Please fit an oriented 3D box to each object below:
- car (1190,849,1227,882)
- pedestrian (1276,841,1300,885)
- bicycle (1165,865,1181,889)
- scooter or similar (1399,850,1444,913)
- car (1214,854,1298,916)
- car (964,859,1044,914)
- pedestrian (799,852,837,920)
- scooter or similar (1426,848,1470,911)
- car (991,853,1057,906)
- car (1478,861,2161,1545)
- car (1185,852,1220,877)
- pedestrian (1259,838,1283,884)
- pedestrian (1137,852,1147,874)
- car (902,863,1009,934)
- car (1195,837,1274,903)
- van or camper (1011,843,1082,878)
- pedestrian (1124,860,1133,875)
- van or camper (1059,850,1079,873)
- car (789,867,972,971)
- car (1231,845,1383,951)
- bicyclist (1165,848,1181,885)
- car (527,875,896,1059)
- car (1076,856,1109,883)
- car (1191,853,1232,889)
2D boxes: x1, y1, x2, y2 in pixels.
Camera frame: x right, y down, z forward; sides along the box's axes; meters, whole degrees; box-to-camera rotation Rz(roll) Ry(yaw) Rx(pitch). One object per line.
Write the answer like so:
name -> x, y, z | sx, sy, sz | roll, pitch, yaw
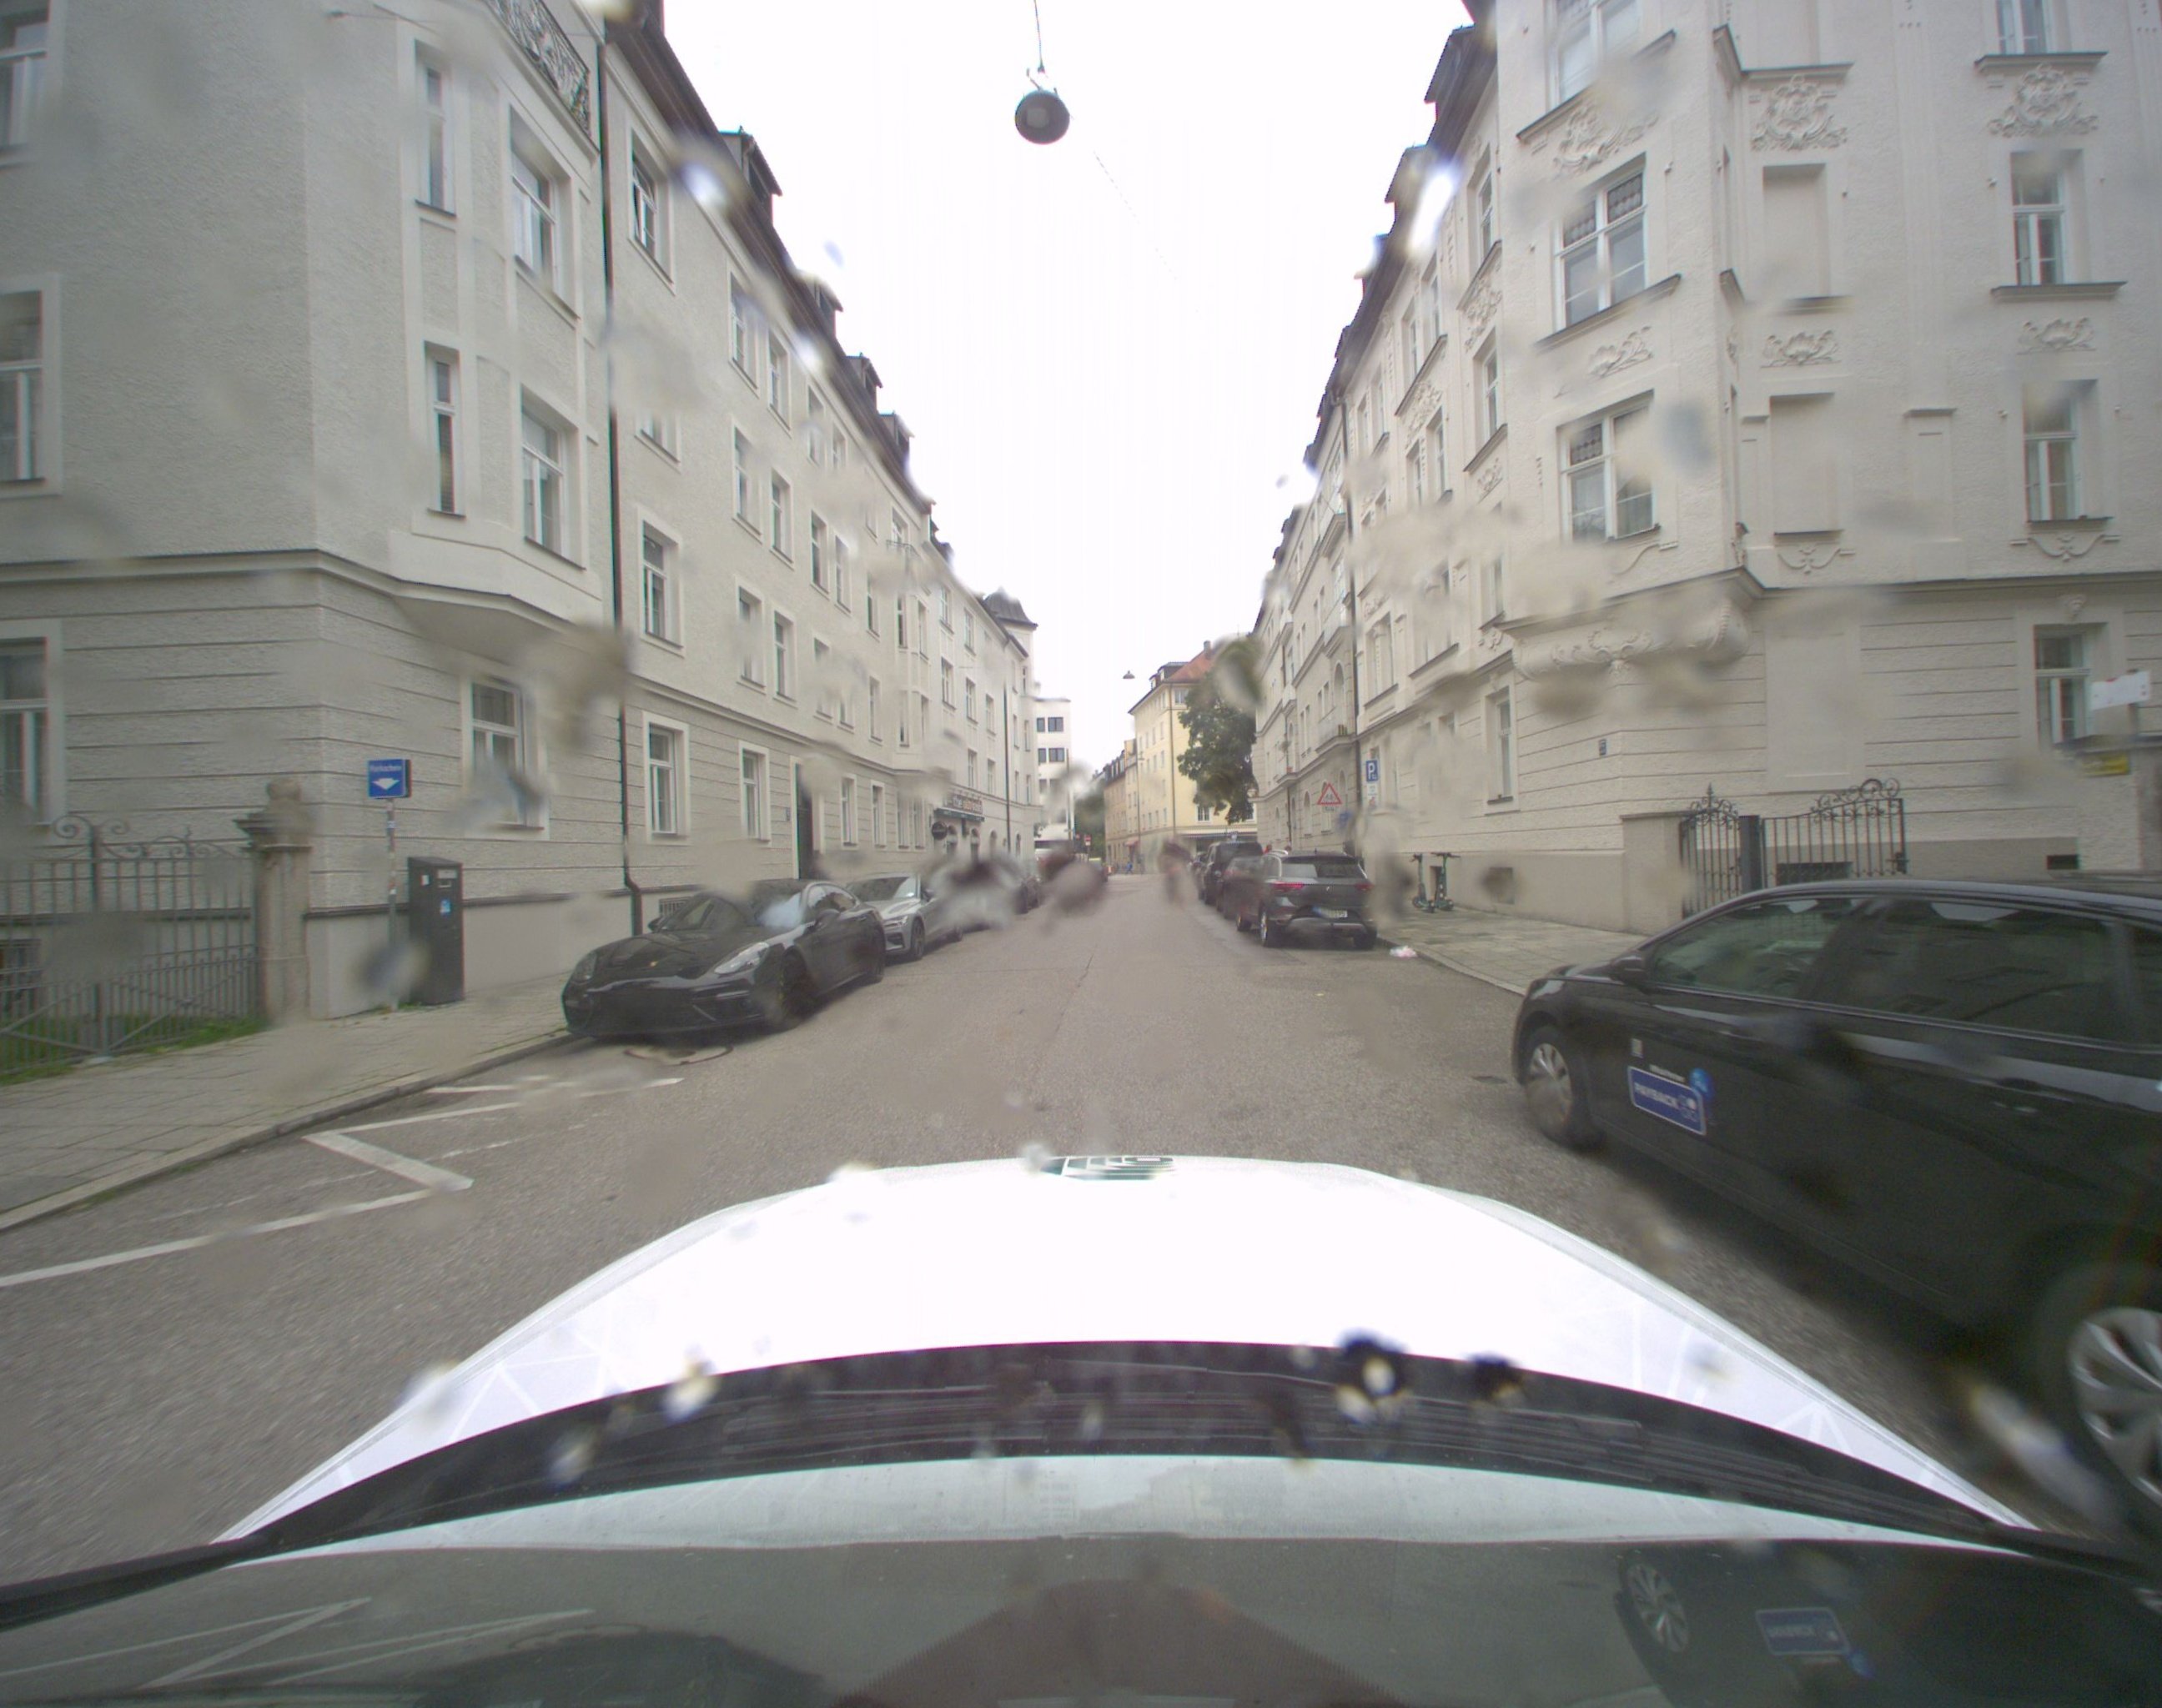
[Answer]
car -> 6.612, 0.577, 42.565 | 1.768, 1.636, 4.384 | -1, 0, 7
pedestrian -> 8.144, 0.343, 32.070 | 0.677, 1.674, 0.654 | -4, 0, 1
bicycle -> 4.085, 0.997, 36.002 | 0.635, 1.004, 1.578 | -2, -1, 8
scooter or similar -> 7.427, 0.569, 17.825 | 0.536, 1.287, 1.508 | -4, -1, 12
car -> 4.224, 0.709, 20.118 | 1.655, 1.395, 3.588 | 0, 0, 6
car -> -2.274, 0.925, 25.052 | 1.734, 1.487, 4.185 | -2, 0, 4
pedestrian -> -6.785, 0.821, 21.059 | 0.695, 1.707, 0.665 | -2, 0, 1
scooter or similar -> 7.963, 0.532, 17.703 | 0.503, 1.287, 1.356 | -4, -1, 12
car -> -1.995, 0.860, 29.820 | 1.739, 1.673, 4.279 | -5, 0, 3
car -> 3.150, 0.748, 3.004 | 1.605, 1.395, 4.004 | -1, 0, 3
car -> 7.775, 0.637, 52.412 | 1.744, 1.496, 3.911 | -2, 0, 1
pedestrian -> 7.352, 0.285, 31.585 | 0.700, 1.728, 0.703 | -3, 0, 1
pedestrian -> 4.619, 0.664, 61.699 | 0.607, 1.661, 0.552 | -2, 0, 8
car -> -2.948, 1.000, 20.062 | 1.804, 1.385, 4.443 | -4, 0, 0
car -> 4.721, 0.453, 25.646 | 1.902, 1.885, 4.719 | 0, 0, 4
van or camper -> -2.958, 0.546, 69.897 | 5.893, 2.677, 1.870 | -2, -2, -4
pedestrian -> 4.386, 1.232, 74.777 | 0.695, 1.270, 0.652 | -3, -1, 8
van or camper -> -1.457, 0.895, 97.845 | 1.991, 2.540, 4.750 | -2, 0, -6
car -> -3.375, 1.029, 14.692 | 1.786, 1.420, 4.515 | -5, -1, 4
car -> 3.777, 0.654, 14.305 | 1.700, 1.588, 4.002 | -1, 0, 2
bicyclist -> 4.071, 0.540, 36.010 | 0.602, 1.606, 0.759 | -2, 0, 8
car -> -3.640, 1.008, 9.185 | 1.842, 1.367, 4.704 | -2, 0, 2
car -> 0.793, 1.003, 53.276 | 1.668, 1.597, 3.951 | -4, -1, 6
car -> 5.881, 0.749, 37.145 | 1.697, 1.471, 4.210 | -2, 0, 8
